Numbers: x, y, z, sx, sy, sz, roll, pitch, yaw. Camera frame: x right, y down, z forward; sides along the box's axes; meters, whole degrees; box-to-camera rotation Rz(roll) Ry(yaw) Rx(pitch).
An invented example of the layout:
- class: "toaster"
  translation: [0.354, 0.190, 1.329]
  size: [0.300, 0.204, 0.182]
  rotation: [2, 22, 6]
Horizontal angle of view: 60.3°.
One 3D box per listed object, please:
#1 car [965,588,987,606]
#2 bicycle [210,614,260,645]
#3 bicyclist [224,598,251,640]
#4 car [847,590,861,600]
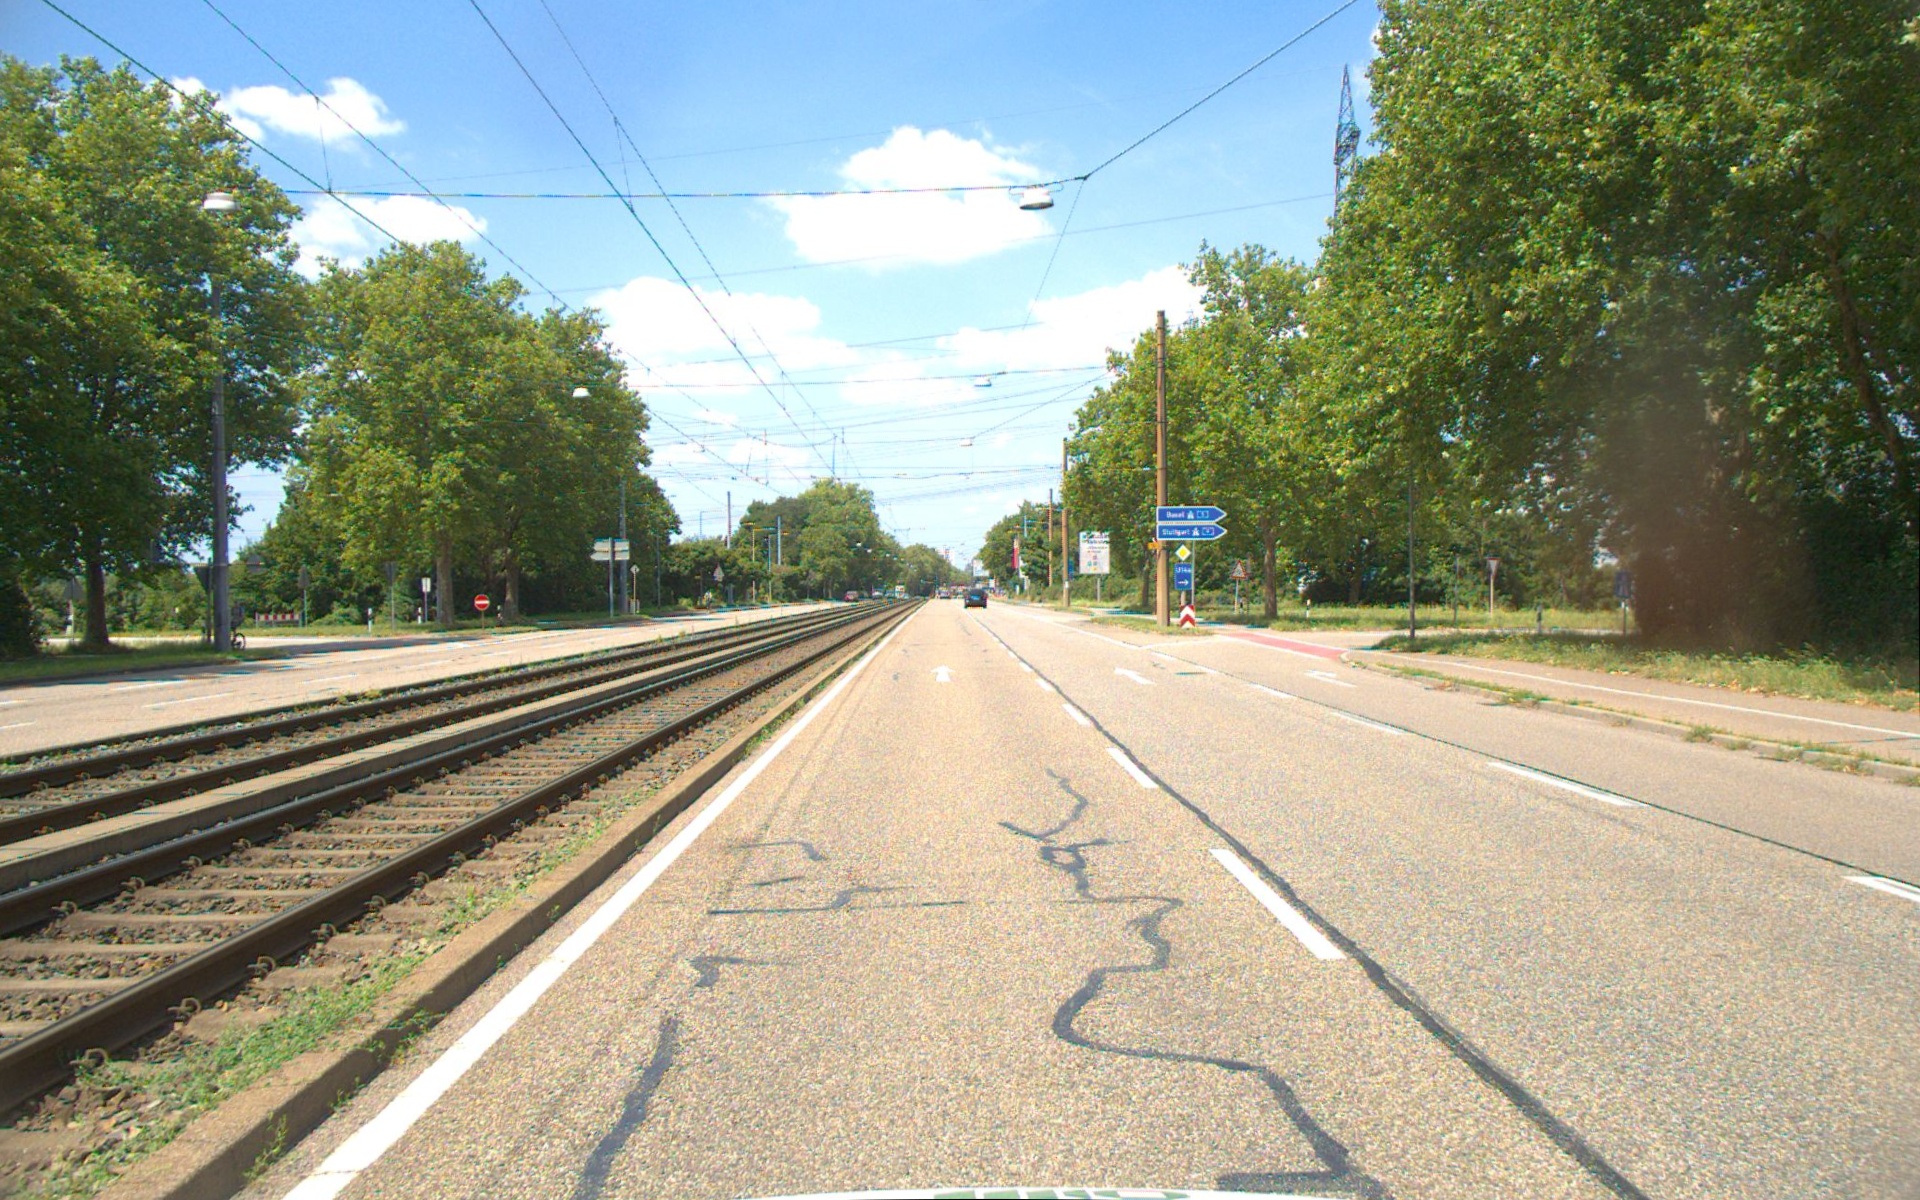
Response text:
- class: "car"
  translation: [1.256, -0.231, 130.555]
  size: [1.554, 1.366, 3.271]
  rotation: [-1, 1, -2]
- class: "bicycle"
  translation: [-25.261, 1.019, 57.649]
  size: [0.715, 1.005, 1.762]
  rotation: [-1, 0, 11]
- class: "bicyclist"
  translation: [-25.239, 0.662, 57.745]
  size: [0.572, 1.454, 0.646]
  rotation: [-1, 0, 12]
- class: "car"
  translation: [-15.357, -0.791, 239.891]
  size: [1.836, 1.355, 3.917]
  rotation: [-2, 1, 0]
